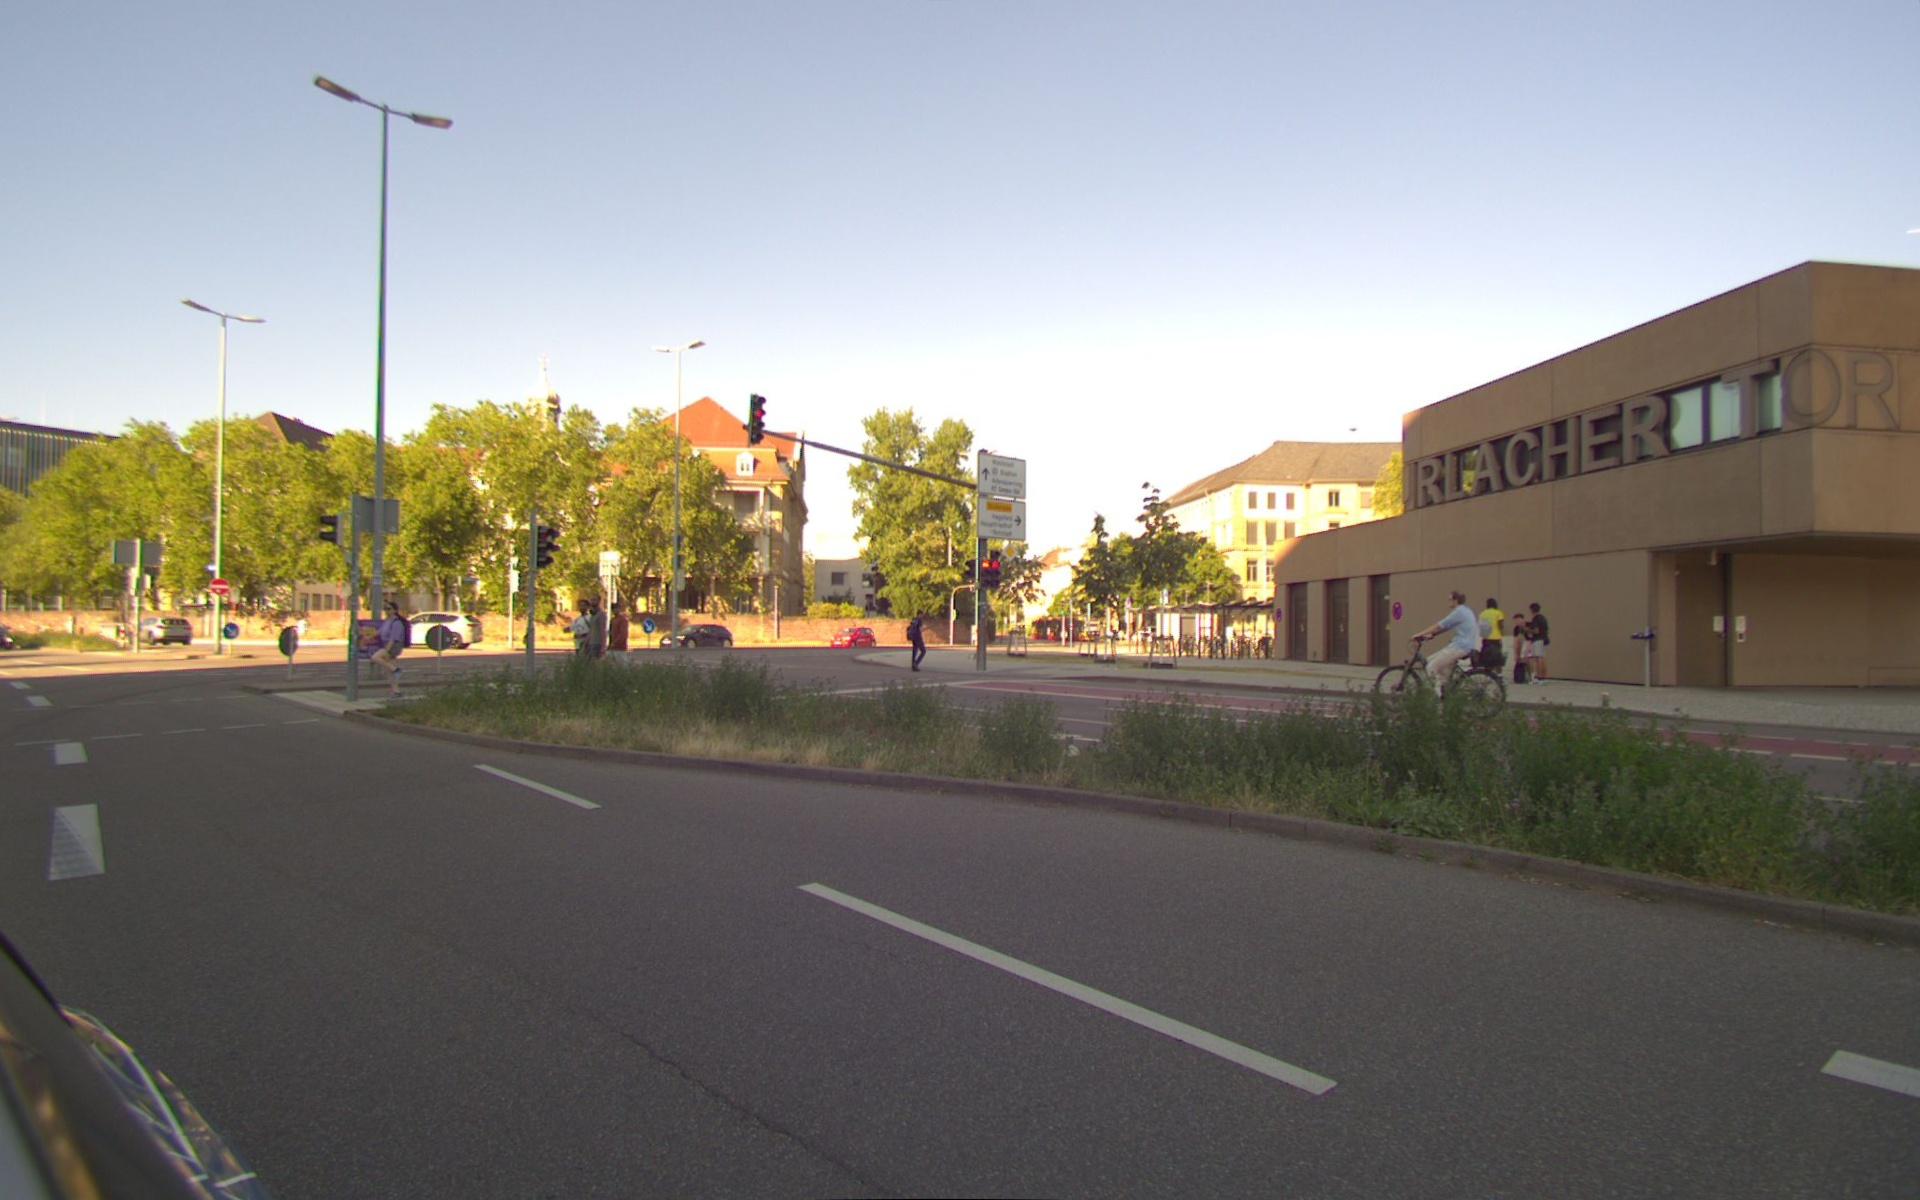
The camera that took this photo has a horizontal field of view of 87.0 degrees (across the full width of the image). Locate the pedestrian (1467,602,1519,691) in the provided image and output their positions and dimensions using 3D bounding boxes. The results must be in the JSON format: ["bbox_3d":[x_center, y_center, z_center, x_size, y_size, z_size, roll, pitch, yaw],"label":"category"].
[{"bbox_3d":[11.335,0.993,21.525,0.706,1.849,0.641,0,-3,-32],"label":"pedestrian"}]

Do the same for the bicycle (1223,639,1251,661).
[{"bbox_3d":[13.652,2.460,49.945,0.595,1.051,2.037,-1,-1,-6],"label":"bicycle"}]

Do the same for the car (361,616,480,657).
[{"bbox_3d":[-24.135,1.635,45.475,4.526,1.697,2.202,0,-3,-22],"label":"car"}]

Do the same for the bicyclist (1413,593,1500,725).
[{"bbox_3d":[7.281,0.840,14.859,1.012,1.846,0.732,-1,-2,39],"label":"bicyclist"}]

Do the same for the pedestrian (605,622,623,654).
[{"bbox_3d":[-18.570,2.028,54.347,0.780,1.665,0.715,3,0,-16],"label":"pedestrian"}]

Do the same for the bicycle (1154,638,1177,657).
[{"bbox_3d":[11.696,2.699,57.680,0.672,1.062,2.025,-1,-1,-6],"label":"bicycle"}]

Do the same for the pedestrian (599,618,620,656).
[{"bbox_3d":[-18.491,1.956,53.411,0.858,1.908,0.715,2,0,-31],"label":"pedestrian"}]

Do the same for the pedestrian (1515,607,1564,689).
[{"bbox_3d":[12.247,1.006,21.398,0.628,1.702,0.552,0,-3,-19],"label":"pedestrian"}]

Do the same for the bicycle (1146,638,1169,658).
[{"bbox_3d":[10.849,2.624,55.584,0.558,1.062,1.977,-1,-1,-9],"label":"bicycle"}]

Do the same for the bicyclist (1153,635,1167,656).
[{"bbox_3d":[16.411,3.742,82.993,0.762,1.681,1.050,-3,-3,31],"label":"bicyclist"}]

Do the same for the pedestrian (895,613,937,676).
[{"bbox_3d":[-1.211,1.226,28.043,0.886,1.698,0.749,2,-3,-43],"label":"pedestrian"}]

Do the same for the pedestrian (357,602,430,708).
[{"bbox_3d":[-9.727,0.934,17.371,0.913,1.754,0.758,2,-3,-43],"label":"pedestrian"}]

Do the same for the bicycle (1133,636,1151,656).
[{"bbox_3d":[10.274,2.582,57.236,0.559,1.062,1.974,-1,-1,-1],"label":"bicycle"}]

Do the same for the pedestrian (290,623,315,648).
[{"bbox_3d":[-40.262,2.175,61.937,0.920,1.548,0.963,-1,-2,32],"label":"pedestrian"}]

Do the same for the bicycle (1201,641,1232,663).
[{"bbox_3d":[13.226,2.694,52.234,0.852,1.051,1.935,-1,-1,-9],"label":"bicycle"}]

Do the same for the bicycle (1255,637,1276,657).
[{"bbox_3d":[17.667,2.704,58.551,0.411,1.062,1.976,-1,-1,-6],"label":"bicycle"}]

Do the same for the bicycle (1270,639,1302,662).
[{"bbox_3d":[16.209,2.494,50.330,0.595,1.051,2.112,-1,-1,-8],"label":"bicycle"}]

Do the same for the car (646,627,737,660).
[{"bbox_3d":[-13.940,2.262,52.879,2.183,1.598,4.567,-3,-3,25],"label":"car"}]

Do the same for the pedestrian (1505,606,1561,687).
[{"bbox_3d":[12.643,1.031,22.346,0.725,1.744,0.666,-1,-3,-7],"label":"pedestrian"}]

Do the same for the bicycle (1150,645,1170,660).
[{"bbox_3d":[16.422,4.290,82.958,0.762,1.196,2.577,-3,-3,31],"label":"bicycle"}]

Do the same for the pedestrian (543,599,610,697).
[{"bbox_3d":[-7.040,0.871,18.586,0.913,1.754,0.758,2,-3,-43],"label":"pedestrian"}]

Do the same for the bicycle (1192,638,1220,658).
[{"bbox_3d":[14.157,2.760,58.280,0.824,1.062,2.123,-1,-1,-9],"label":"bicycle"}]

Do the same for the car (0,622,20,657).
[{"bbox_3d":[-43.332,1.726,44.649,4.009,1.530,1.902,-1,-2,35],"label":"car"}]

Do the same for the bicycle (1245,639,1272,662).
[{"bbox_3d":[14.748,2.469,50.043,0.595,1.051,2.035,-1,-1,-3],"label":"bicycle"}]

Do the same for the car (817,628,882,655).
[{"bbox_3d":[-7.161,2.711,66.243,2.183,1.598,4.567,-3,-3,25],"label":"car"}]

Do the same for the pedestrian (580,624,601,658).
[{"bbox_3d":[-19.125,2.118,52.412,0.858,1.686,0.715,2,0,-31],"label":"pedestrian"}]

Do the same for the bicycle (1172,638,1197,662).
[{"bbox_3d":[11.107,2.465,50.111,0.558,1.114,1.976,-1,-1,-7],"label":"bicycle"}]

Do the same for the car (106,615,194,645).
[{"bbox_3d":[-44.759,1.653,55.924,4.339,1.632,2.137,-1,-2,26],"label":"car"}]

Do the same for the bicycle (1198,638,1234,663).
[{"bbox_3d":[11.619,2.297,46.011,0.733,1.114,2.129,-1,-3,-10],"label":"bicycle"}]

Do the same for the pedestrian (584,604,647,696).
[{"bbox_3d":[-6.750,0.969,19.831,0.913,1.754,0.788,2,-3,-43],"label":"pedestrian"}]

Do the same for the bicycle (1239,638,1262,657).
[{"bbox_3d":[17.015,2.756,59.312,0.489,1.062,1.977,-1,-1,-10],"label":"bicycle"}]

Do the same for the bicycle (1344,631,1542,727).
[{"bbox_3d":[7.102,1.118,14.985,2.554,1.265,0.732,0,-2,40],"label":"bicycle"}]

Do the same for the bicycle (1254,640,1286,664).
[{"bbox_3d":[14.271,2.386,46.629,0.514,1.051,1.853,-1,-1,-12],"label":"bicycle"}]

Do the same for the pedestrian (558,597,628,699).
[{"bbox_3d":[-6.509,0.844,17.962,0.913,1.754,0.758,2,-3,-43],"label":"pedestrian"}]

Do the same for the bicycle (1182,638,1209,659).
[{"bbox_3d":[12.953,2.647,55.706,0.746,1.062,1.976,-1,-1,-7],"label":"bicycle"}]

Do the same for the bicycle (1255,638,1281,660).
[{"bbox_3d":[15.956,2.519,52.463,0.528,1.097,1.935,-1,-1,-8],"label":"bicycle"}]
